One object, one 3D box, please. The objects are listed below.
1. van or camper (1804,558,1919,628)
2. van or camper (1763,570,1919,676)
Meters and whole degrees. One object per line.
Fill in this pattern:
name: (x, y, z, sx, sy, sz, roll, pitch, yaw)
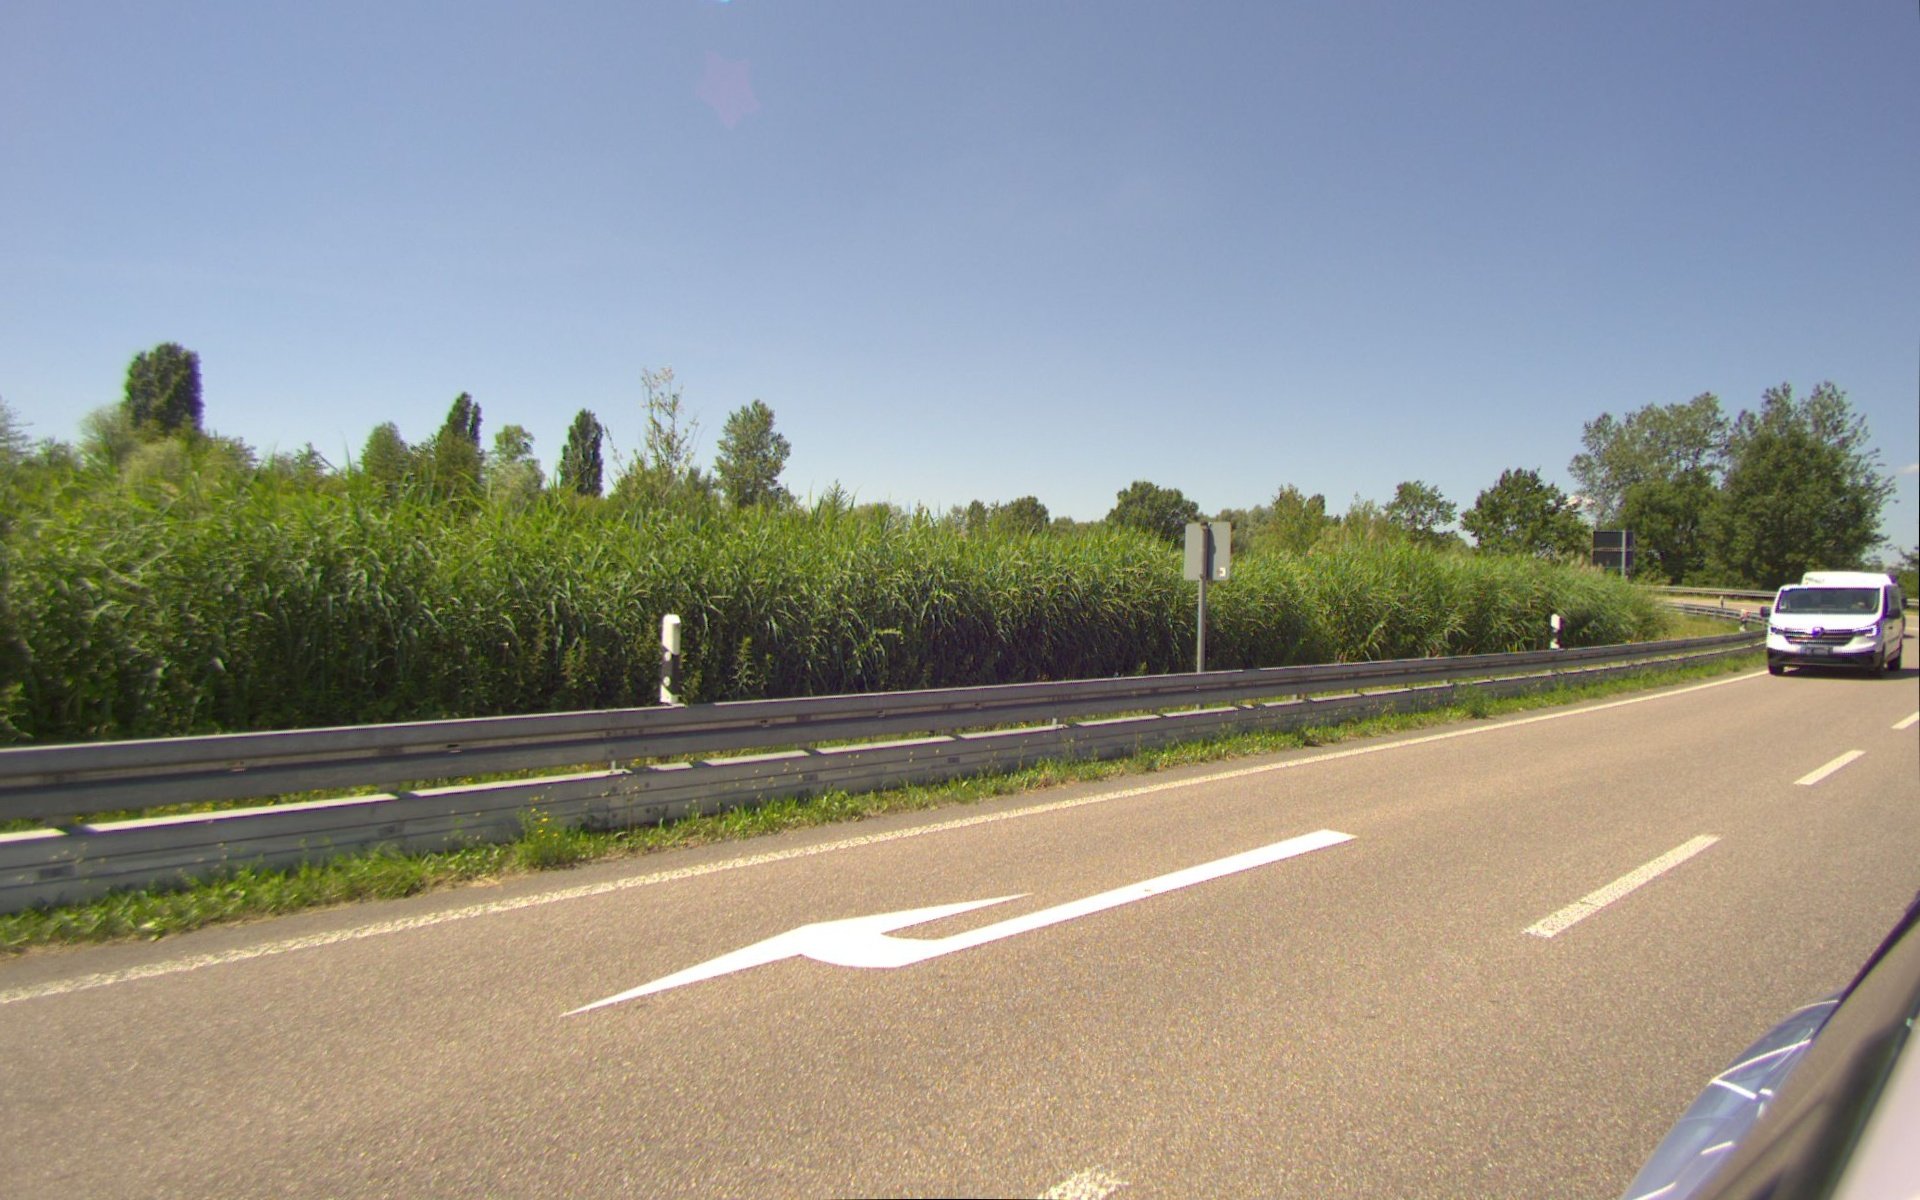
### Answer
van or camper: (36.065, -0.272, 40.655, 2.055, 2.587, 5.989, 0, 0, 28)
van or camper: (19.413, 0.438, 22.111, 5.354, 2.057, 2.006, 0, 0, -42)
